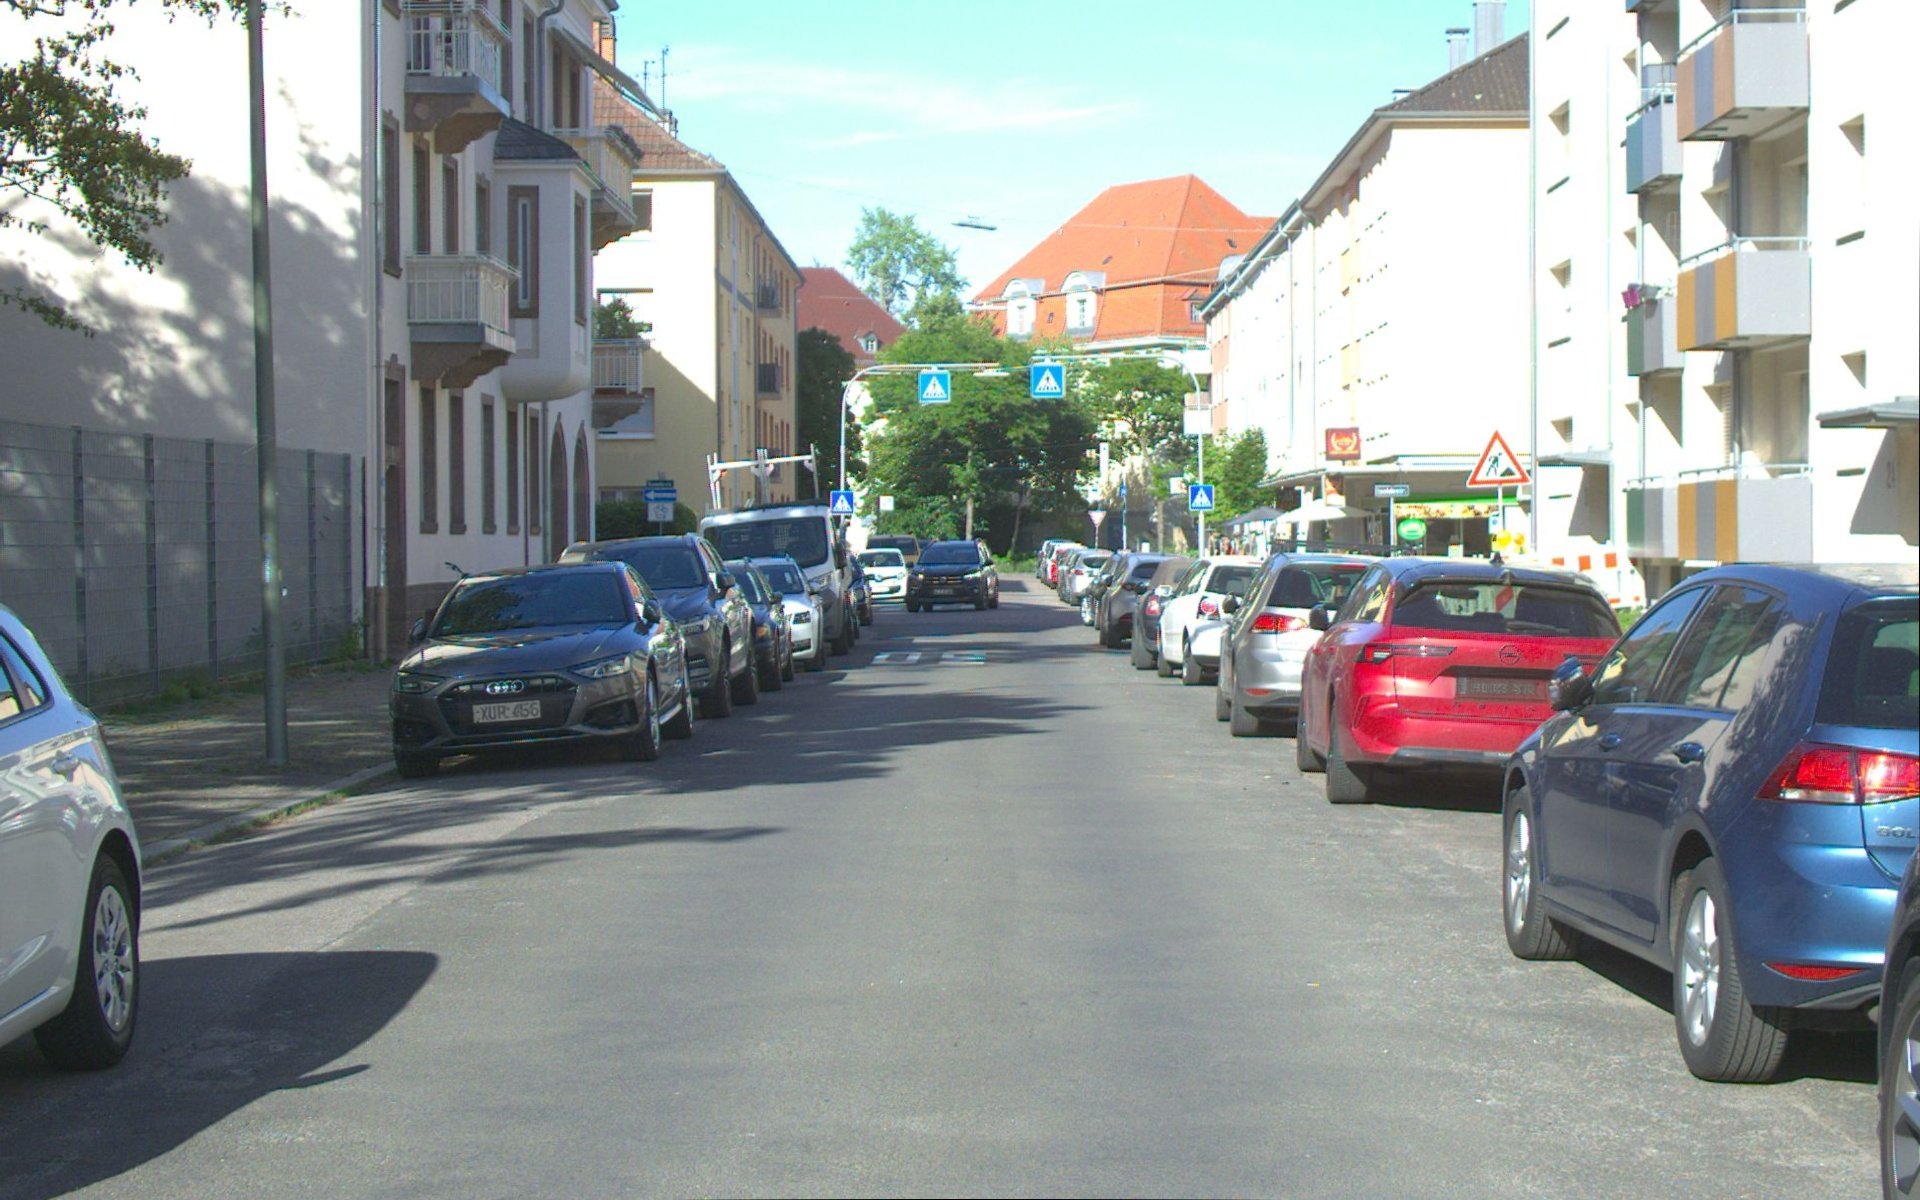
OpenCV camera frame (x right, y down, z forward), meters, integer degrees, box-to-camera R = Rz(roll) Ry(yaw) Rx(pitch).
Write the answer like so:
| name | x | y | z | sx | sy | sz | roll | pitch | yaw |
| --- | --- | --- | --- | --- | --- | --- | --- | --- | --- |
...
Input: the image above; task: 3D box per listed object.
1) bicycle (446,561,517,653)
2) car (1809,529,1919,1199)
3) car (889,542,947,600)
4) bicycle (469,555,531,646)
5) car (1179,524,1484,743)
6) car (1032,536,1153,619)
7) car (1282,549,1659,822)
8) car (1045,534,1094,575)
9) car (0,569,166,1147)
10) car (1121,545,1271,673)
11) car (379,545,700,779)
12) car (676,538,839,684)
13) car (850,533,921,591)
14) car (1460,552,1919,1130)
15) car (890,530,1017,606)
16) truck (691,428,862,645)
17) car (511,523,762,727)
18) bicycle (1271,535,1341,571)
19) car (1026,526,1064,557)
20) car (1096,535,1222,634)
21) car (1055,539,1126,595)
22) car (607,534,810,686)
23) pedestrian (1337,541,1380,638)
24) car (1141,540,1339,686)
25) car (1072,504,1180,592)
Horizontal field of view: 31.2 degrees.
| name | x | y | z | sx | sy | sz | roll | pitch | yaw |
| --- | --- | --- | --- | --- | --- | --- | --- | --- | --- |
| bicycle | -6.686 | 0.084 | 48.098 | 0.629 | 1.199 | 2.341 | -1 | 2 | 1 |
| car | 2.751 | 0.667 | 5.205 | 1.752 | 1.553 | 4.256 | 0 | 1 | -2 |
| car | -1.309 | -0.939 | 108.174 | 1.697 | 1.772 | 4.099 | 0 | 1 | 1 |
| bicycle | -6.813 | -0.003 | 51.025 | 0.569 | 1.275 | 2.341 | -1 | 2 | 1 |
| car | 2.909 | 0.209 | 27.833 | 1.898 | 1.616 | 4.603 | 0 | 1 | -1 |
| car | 2.475 | -0.429 | 65.194 | 1.853 | 1.518 | 4.778 | 0 | 0 | -3 |
| car | 2.946 | 0.429 | 20.702 | 1.752 | 1.439 | 4.523 | 0 | 1 | 2 |
| car | 3.923 | -1.636 | 123.749 | 1.637 | 1.436 | 3.419 | 0 | 1 | 0 |
| car | -3.346 | 0.702 | 8.389 | 1.794 | 1.440 | 4.120 | -2 | 1 | 0 |
| car | 2.968 | 0.083 | 43.766 | 1.688 | 1.462 | 3.583 | 2 | 1 | 1 |
| car | -2.968 | 0.377 | 25.126 | 1.794 | 1.466 | 4.502 | -3 | 1 | -1 |
| car | -2.546 | 0.088 | 44.096 | 1.792 | 1.535 | 4.642 | -6 | 2 | -1 |
| car | -2.076 | -1.083 | 96.710 | 1.791 | 1.475 | 4.099 | -2 | 2 | 1 |
| car | 2.822 | 0.594 | 10.905 | 1.752 | 1.476 | 4.081 | 0 | 1 | -2 |
| car | -0.114 | -0.745 | 77.616 | 1.823 | 1.628 | 4.254 | -1 | 1 | 14 |
| truck | -2.639 | -0.928 | 51.167 | 2.259 | 2.976 | 7.276 | -1 | 1 | -1 |
| car | -2.908 | 0.173 | 31.881 | 1.878 | 1.658 | 4.932 | -3 | 1 | -1 |
| bicycle | 9.626 | -1.311 | 95.723 | 1.806 | 0.964 | 0.674 | -1 | 1 | -9 |
| car | 3.895 | -2.701 | 158.245 | 1.637 | 1.436 | 3.419 | 0 | 1 | 0 |
| car | 3.061 | -0.270 | 53.478 | 1.792 | 1.466 | 4.339 | 0 | 1 | 1 |
| car | 3.492 | -0.900 | 92.226 | 1.845 | 1.436 | 3.419 | 0 | 1 | 1 |
| car | -2.698 | 0.072 | 37.759 | 1.792 | 1.557 | 4.459 | 0 | 1 | 1 |
| pedestrian | 5.980 | -0.156 | 51.616 | 0.575 | 1.428 | 0.471 | -2 | 2 | 3 |
| car | 3.144 | 0.110 | 39.266 | 1.685 | 1.458 | 3.820 | 5 | 1 | -2 |
| car | 2.844 | -0.885 | 59.537 | 1.645 | 1.455 | 3.940 | 0 | 0 | 0 |
